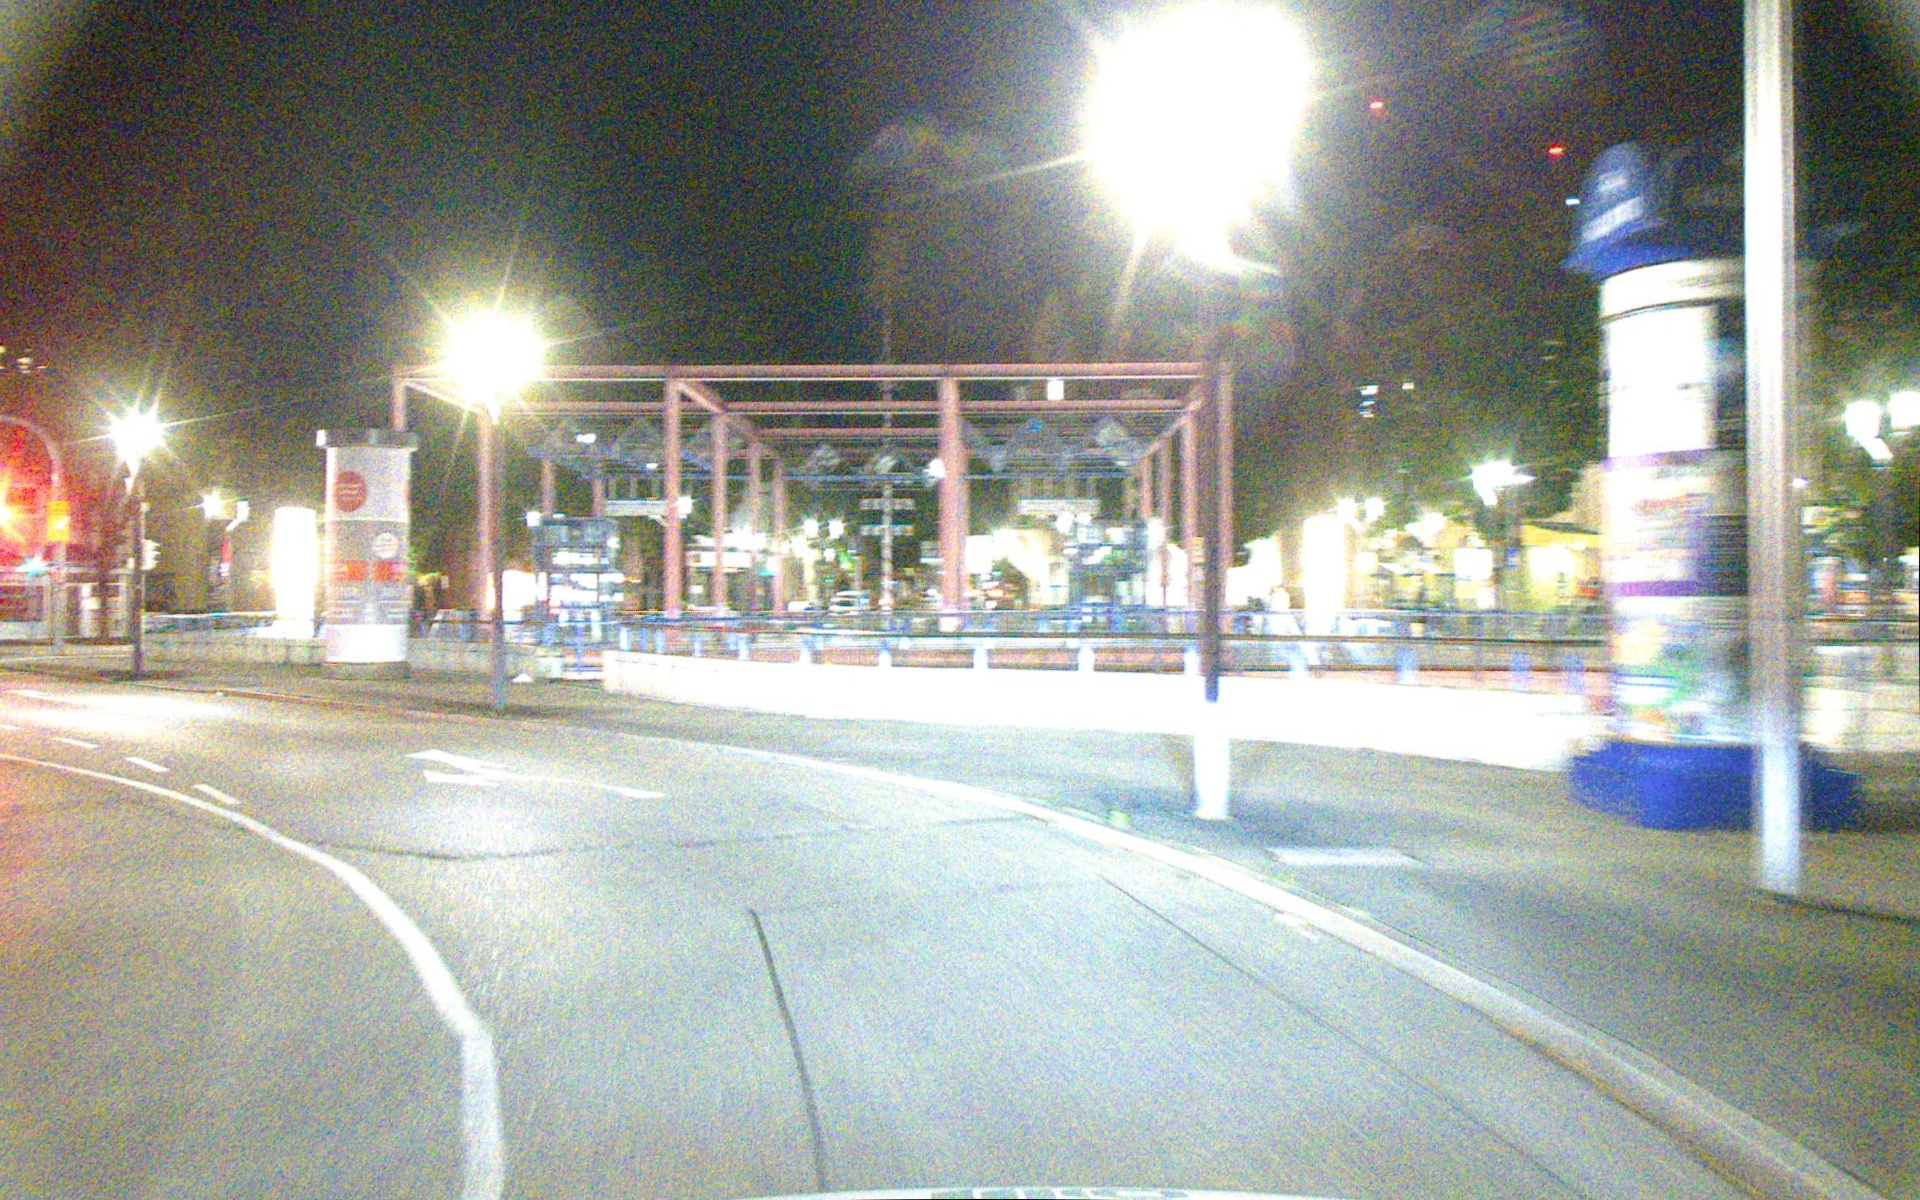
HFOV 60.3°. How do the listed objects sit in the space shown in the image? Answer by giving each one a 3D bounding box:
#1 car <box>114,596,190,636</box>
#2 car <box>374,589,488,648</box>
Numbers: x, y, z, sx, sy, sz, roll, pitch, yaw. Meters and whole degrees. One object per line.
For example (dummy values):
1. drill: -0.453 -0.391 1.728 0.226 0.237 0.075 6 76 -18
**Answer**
1. car: -33.448 0.640 68.444 1.982 1.601 3.600 -1 0 -41
2. car: -15.070 0.495 47.381 1.953 1.601 4.327 0 0 -1
